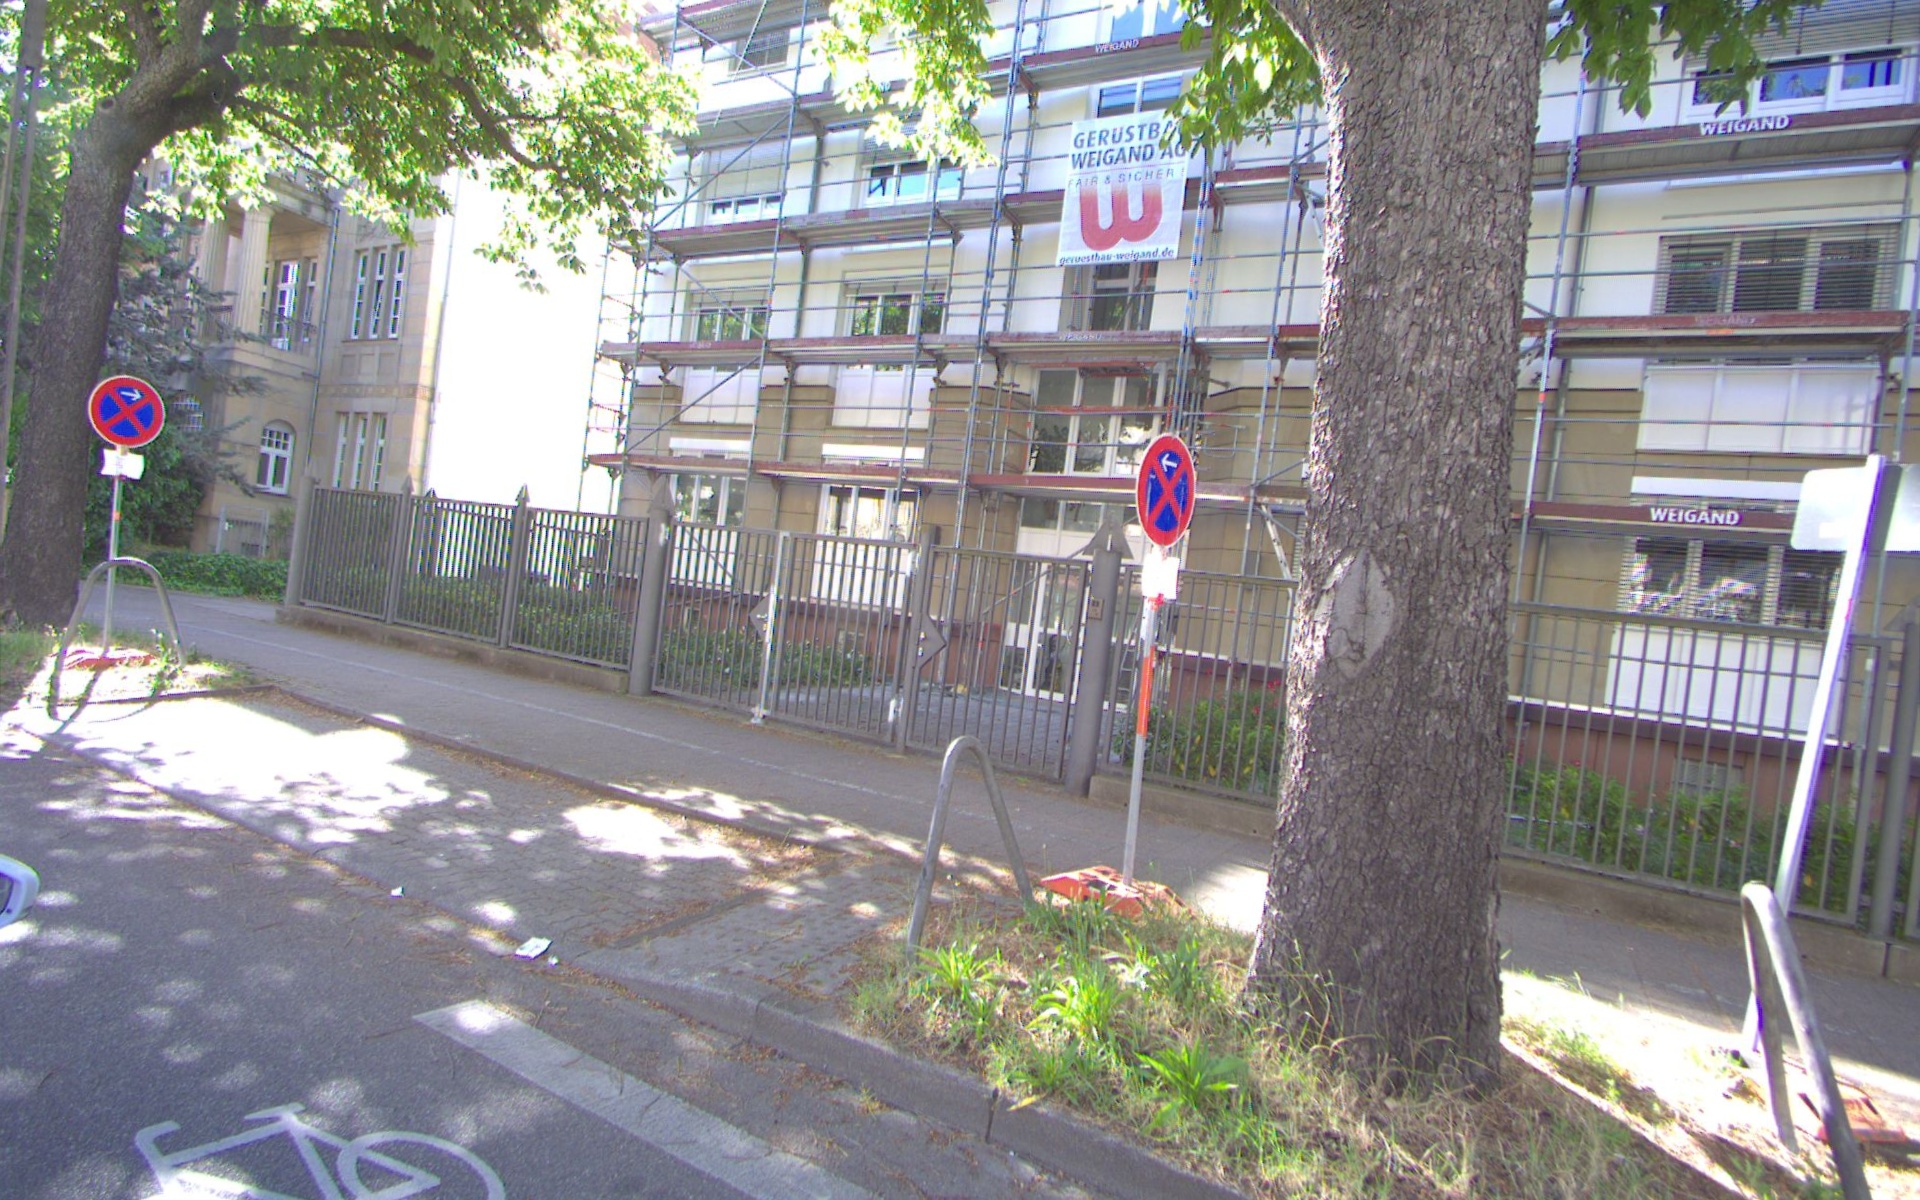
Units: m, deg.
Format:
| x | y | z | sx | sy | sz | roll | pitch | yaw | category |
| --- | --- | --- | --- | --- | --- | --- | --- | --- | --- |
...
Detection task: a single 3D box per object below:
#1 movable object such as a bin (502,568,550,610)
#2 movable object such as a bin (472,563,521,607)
| x | y | z | sx | sy | sz | roll | pitch | yaw | category |
| --- | --- | --- | --- | --- | --- | --- | --- | --- | --- |
| -11.297 | -0.285 | 26.202 | 0.637 | 0.966 | 0.835 | 6 | -2 | 30 | movable object such as a bin |
| -11.719 | -0.371 | 25.445 | 0.637 | 0.966 | 0.835 | 6 | -2 | 30 | movable object such as a bin |
